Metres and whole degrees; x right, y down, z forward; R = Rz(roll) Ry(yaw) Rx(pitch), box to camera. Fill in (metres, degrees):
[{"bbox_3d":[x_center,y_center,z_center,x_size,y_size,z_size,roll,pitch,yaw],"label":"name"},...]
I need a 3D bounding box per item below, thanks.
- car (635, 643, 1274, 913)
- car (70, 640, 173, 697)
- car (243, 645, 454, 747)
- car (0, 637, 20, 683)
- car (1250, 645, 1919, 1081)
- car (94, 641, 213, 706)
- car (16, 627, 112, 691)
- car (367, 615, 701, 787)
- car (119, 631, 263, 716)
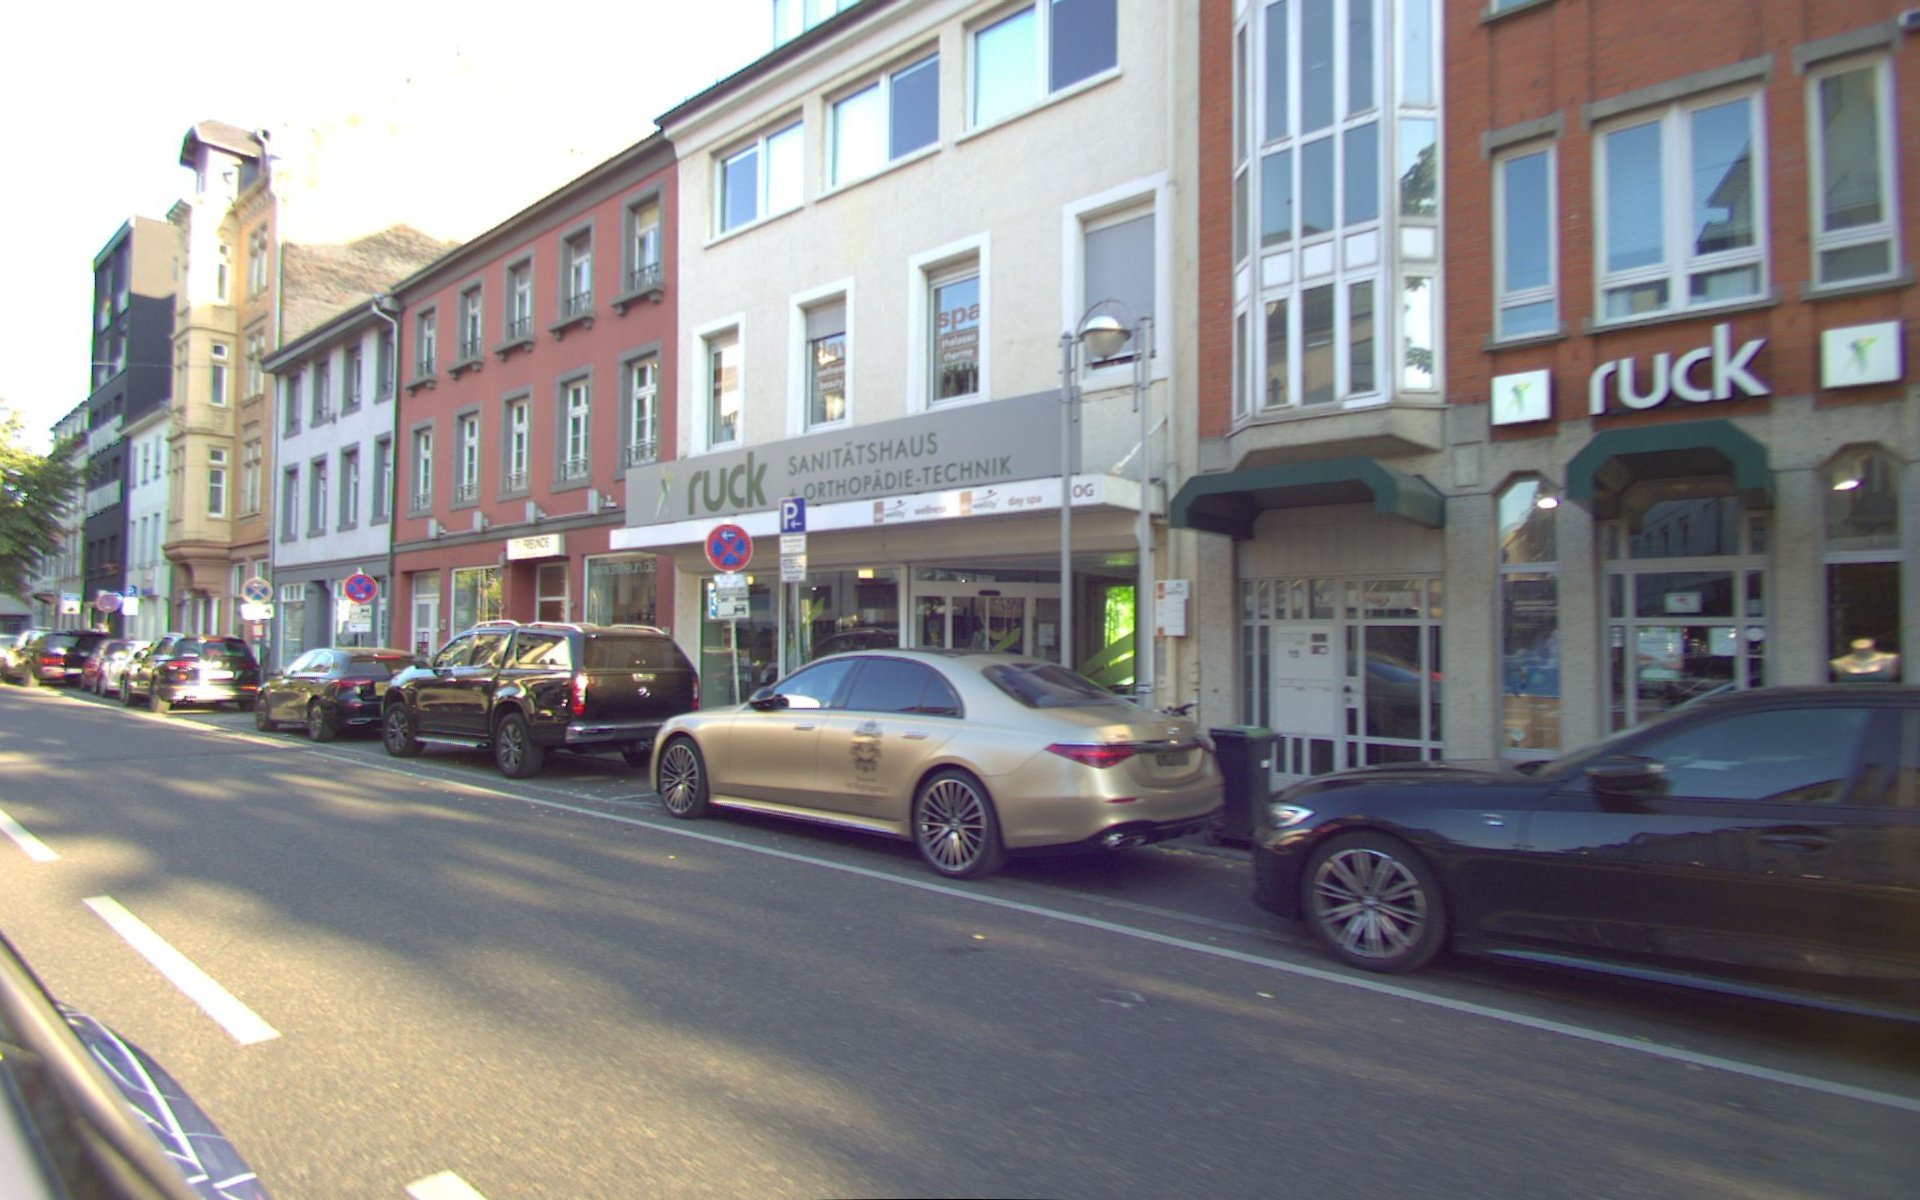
[{"bbox_3d":[-0.337,1.118,8.080,5.105,1.484,1.972,-2,-5,42],"label":"car"},{"bbox_3d":[-23.576,1.905,28.422,3.564,1.468,1.651,-2,-5,42],"label":"car"},{"bbox_3d":[-10.143,1.522,16.688,4.011,1.448,1.684,-2,-5,40],"label":"car"},{"bbox_3d":[-33.233,1.993,34.165,3.562,1.532,1.652,-2,-4,40],"label":"car"},{"bbox_3d":[3.736,0.978,4.292,4.538,1.484,1.702,-2,-5,41],"label":"car"},{"bbox_3d":[-20.210,1.818,25.309,3.690,1.481,1.667,-2,-5,42],"label":"car"},{"bbox_3d":[-27.000,1.768,30.465,3.564,1.788,1.651,-2,-5,42],"label":"car"},{"bbox_3d":[-5.505,1.155,12.755,4.933,1.793,1.703,-2,-4,39],"label":"car"},{"bbox_3d":[-16.921,1.581,22.201,4.048,1.696,1.702,-2,-5,42],"label":"car"}]
